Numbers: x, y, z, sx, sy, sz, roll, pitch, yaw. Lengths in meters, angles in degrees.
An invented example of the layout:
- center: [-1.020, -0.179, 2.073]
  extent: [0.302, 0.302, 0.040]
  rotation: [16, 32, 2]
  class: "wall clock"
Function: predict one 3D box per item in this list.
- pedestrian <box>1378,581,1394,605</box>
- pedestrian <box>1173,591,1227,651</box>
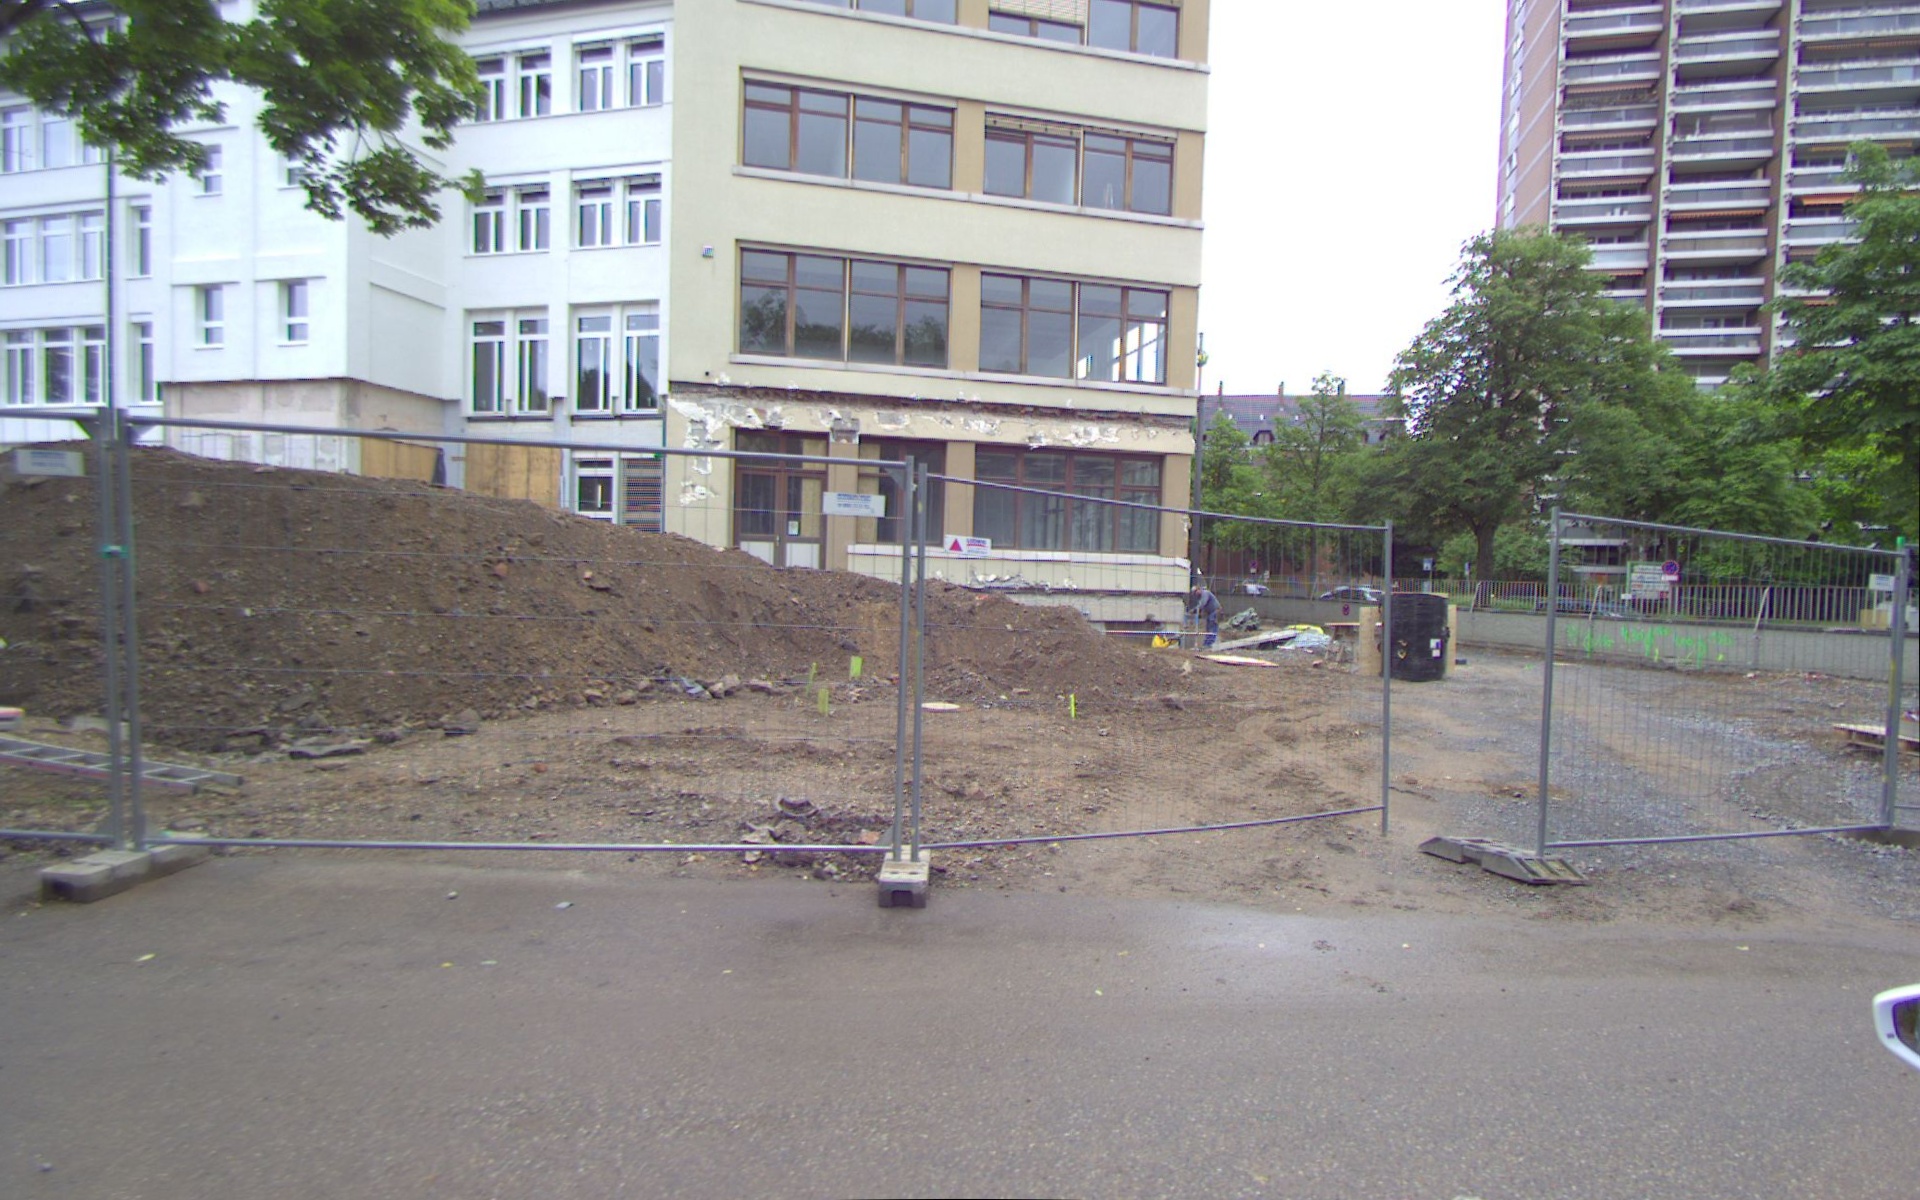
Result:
- center: [28.504, -0.474, 67.195]
  extent: [0.832, 1.548, 0.519]
  rotation: [1, 2, -25]
  class: "pedestrian"
- center: [6.052, 0.522, 25.356]
  extent: [0.967, 1.457, 0.927]
  rotation: [2, 1, -16]
  class: "pedestrian"
